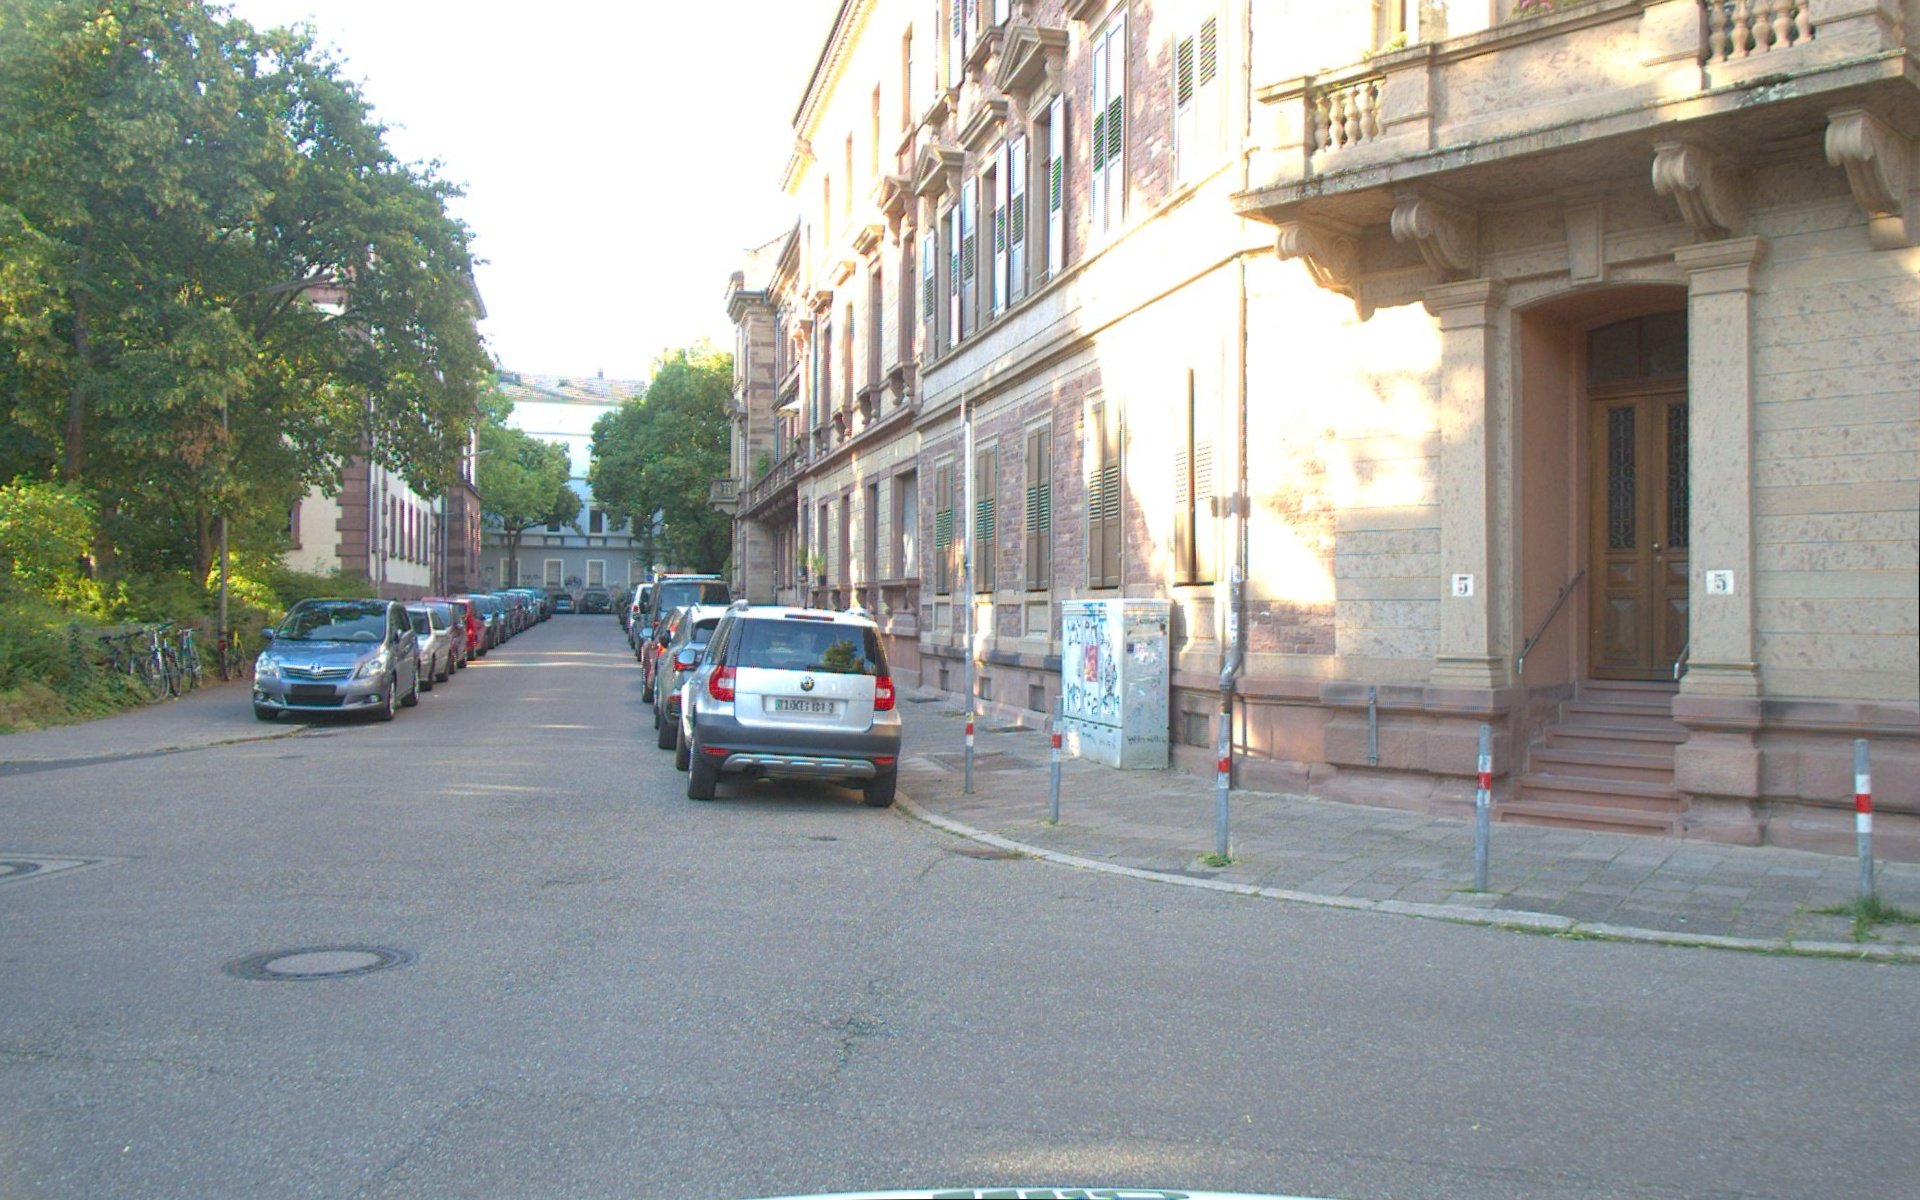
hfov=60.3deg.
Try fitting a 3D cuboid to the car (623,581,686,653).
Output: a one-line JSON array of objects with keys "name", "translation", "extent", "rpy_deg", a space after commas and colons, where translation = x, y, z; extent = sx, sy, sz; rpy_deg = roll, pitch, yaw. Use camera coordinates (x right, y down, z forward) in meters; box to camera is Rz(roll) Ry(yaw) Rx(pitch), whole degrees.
[{"name": "car", "translation": [-9.753, 0.521, 52.638], "extent": [1.766, 2.109, 3.943], "rpy_deg": [3, -1, -12]}]

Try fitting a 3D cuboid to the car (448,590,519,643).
[{"name": "car", "translation": [-15.259, 0.512, 53.090], "extent": [1.794, 1.526, 3.920], "rpy_deg": [3, -1, -12]}]

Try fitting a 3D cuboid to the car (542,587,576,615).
[{"name": "car", "translation": [-26.906, 0.087, 110.901], "extent": [1.962, 1.713, 3.980], "rpy_deg": [2, -2, -18]}]

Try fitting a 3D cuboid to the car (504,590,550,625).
[{"name": "car", "translation": [-20.536, 0.355, 78.566], "extent": [1.794, 1.526, 3.920], "rpy_deg": [3, -1, -12]}]

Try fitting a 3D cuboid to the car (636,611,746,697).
[{"name": "car", "translation": [-5.003, 0.948, 30.418], "extent": [1.766, 1.369, 3.943], "rpy_deg": [3, -1, -12]}]

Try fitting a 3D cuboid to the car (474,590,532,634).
[{"name": "car", "translation": [-17.513, 0.442, 63.574], "extent": [1.794, 1.526, 3.920], "rpy_deg": [3, -1, -12]}]

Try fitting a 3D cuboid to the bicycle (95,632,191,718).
[{"name": "bicycle", "translation": [-11.689, 1.041, 23.735], "extent": [0.586, 1.121, 2.619], "rpy_deg": [0, 0, -12]}]

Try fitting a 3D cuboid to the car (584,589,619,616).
[{"name": "car", "translation": [-24.340, 0.178, 112.250], "extent": [1.962, 1.713, 3.980], "rpy_deg": [2, -2, -18]}]

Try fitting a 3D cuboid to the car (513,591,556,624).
[{"name": "car", "translation": [-21.484, 0.383, 83.565], "extent": [1.794, 1.526, 3.920], "rpy_deg": [3, -1, -12]}]

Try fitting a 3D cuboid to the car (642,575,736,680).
[{"name": "car", "translation": [-5.996, 0.573, 36.280], "extent": [1.766, 2.109, 3.943], "rpy_deg": [3, -1, -12]}]

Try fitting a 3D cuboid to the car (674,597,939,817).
[{"name": "car", "translation": [-1.573, 0.888, 15.379], "extent": [1.882, 1.686, 4.173], "rpy_deg": [3, -1, -12]}]

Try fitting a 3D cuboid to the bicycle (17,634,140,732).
[{"name": "bicycle", "translation": [-11.183, 1.015, 21.071], "extent": [0.586, 1.121, 2.621], "rpy_deg": [0, 0, -10]}]

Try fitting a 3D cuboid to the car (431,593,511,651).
[{"name": "car", "translation": [-14.197, 0.621, 48.183], "extent": [1.794, 1.526, 3.920], "rpy_deg": [3, -1, -12]}]

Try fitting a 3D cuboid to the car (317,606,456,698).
[{"name": "car", "translation": [-10.371, 0.901, 30.164], "extent": [1.794, 1.472, 3.920], "rpy_deg": [3, -1, -12]}]

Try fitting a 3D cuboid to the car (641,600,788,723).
[{"name": "car", "translation": [-3.798, 0.869, 25.089], "extent": [1.767, 1.642, 3.940], "rpy_deg": [3, -1, -14]}]

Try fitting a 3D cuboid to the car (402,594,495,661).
[{"name": "car", "translation": [-12.902, 0.662, 41.919], "extent": [1.794, 1.526, 3.920], "rpy_deg": [3, -1, -12]}]

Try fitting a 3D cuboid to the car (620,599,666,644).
[{"name": "car", "translation": [-13.230, 0.868, 68.891], "extent": [1.766, 1.758, 3.943], "rpy_deg": [3, -1, -12]}]

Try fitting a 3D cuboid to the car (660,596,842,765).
[{"name": "car", "translation": [-2.676, 0.885, 20.299], "extent": [1.794, 1.753, 4.530], "rpy_deg": [3, -1, -11]}]

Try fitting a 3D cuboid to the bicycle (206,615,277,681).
[{"name": "bicycle", "translation": [-13.041, 0.847, 30.091], "extent": [0.586, 1.121, 2.620], "rpy_deg": [0, 0, -10]}]

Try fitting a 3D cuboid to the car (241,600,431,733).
[{"name": "car", "translation": [-8.840, 0.881, 23.790], "extent": [1.794, 1.643, 4.279], "rpy_deg": [3, -1, -12]}]

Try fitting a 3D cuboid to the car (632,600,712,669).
[{"name": "car", "translation": [-7.278, 0.828, 41.567], "extent": [1.766, 1.550, 3.943], "rpy_deg": [3, -1, -12]}]

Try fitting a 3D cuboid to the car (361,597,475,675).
[{"name": "car", "translation": [-11.587, 0.733, 35.583], "extent": [1.794, 1.504, 3.920], "rpy_deg": [3, -1, -12]}]

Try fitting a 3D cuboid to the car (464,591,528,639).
[{"name": "car", "translation": [-16.341, 0.508, 58.390], "extent": [1.794, 1.526, 3.920], "rpy_deg": [3, -1, -12]}]
